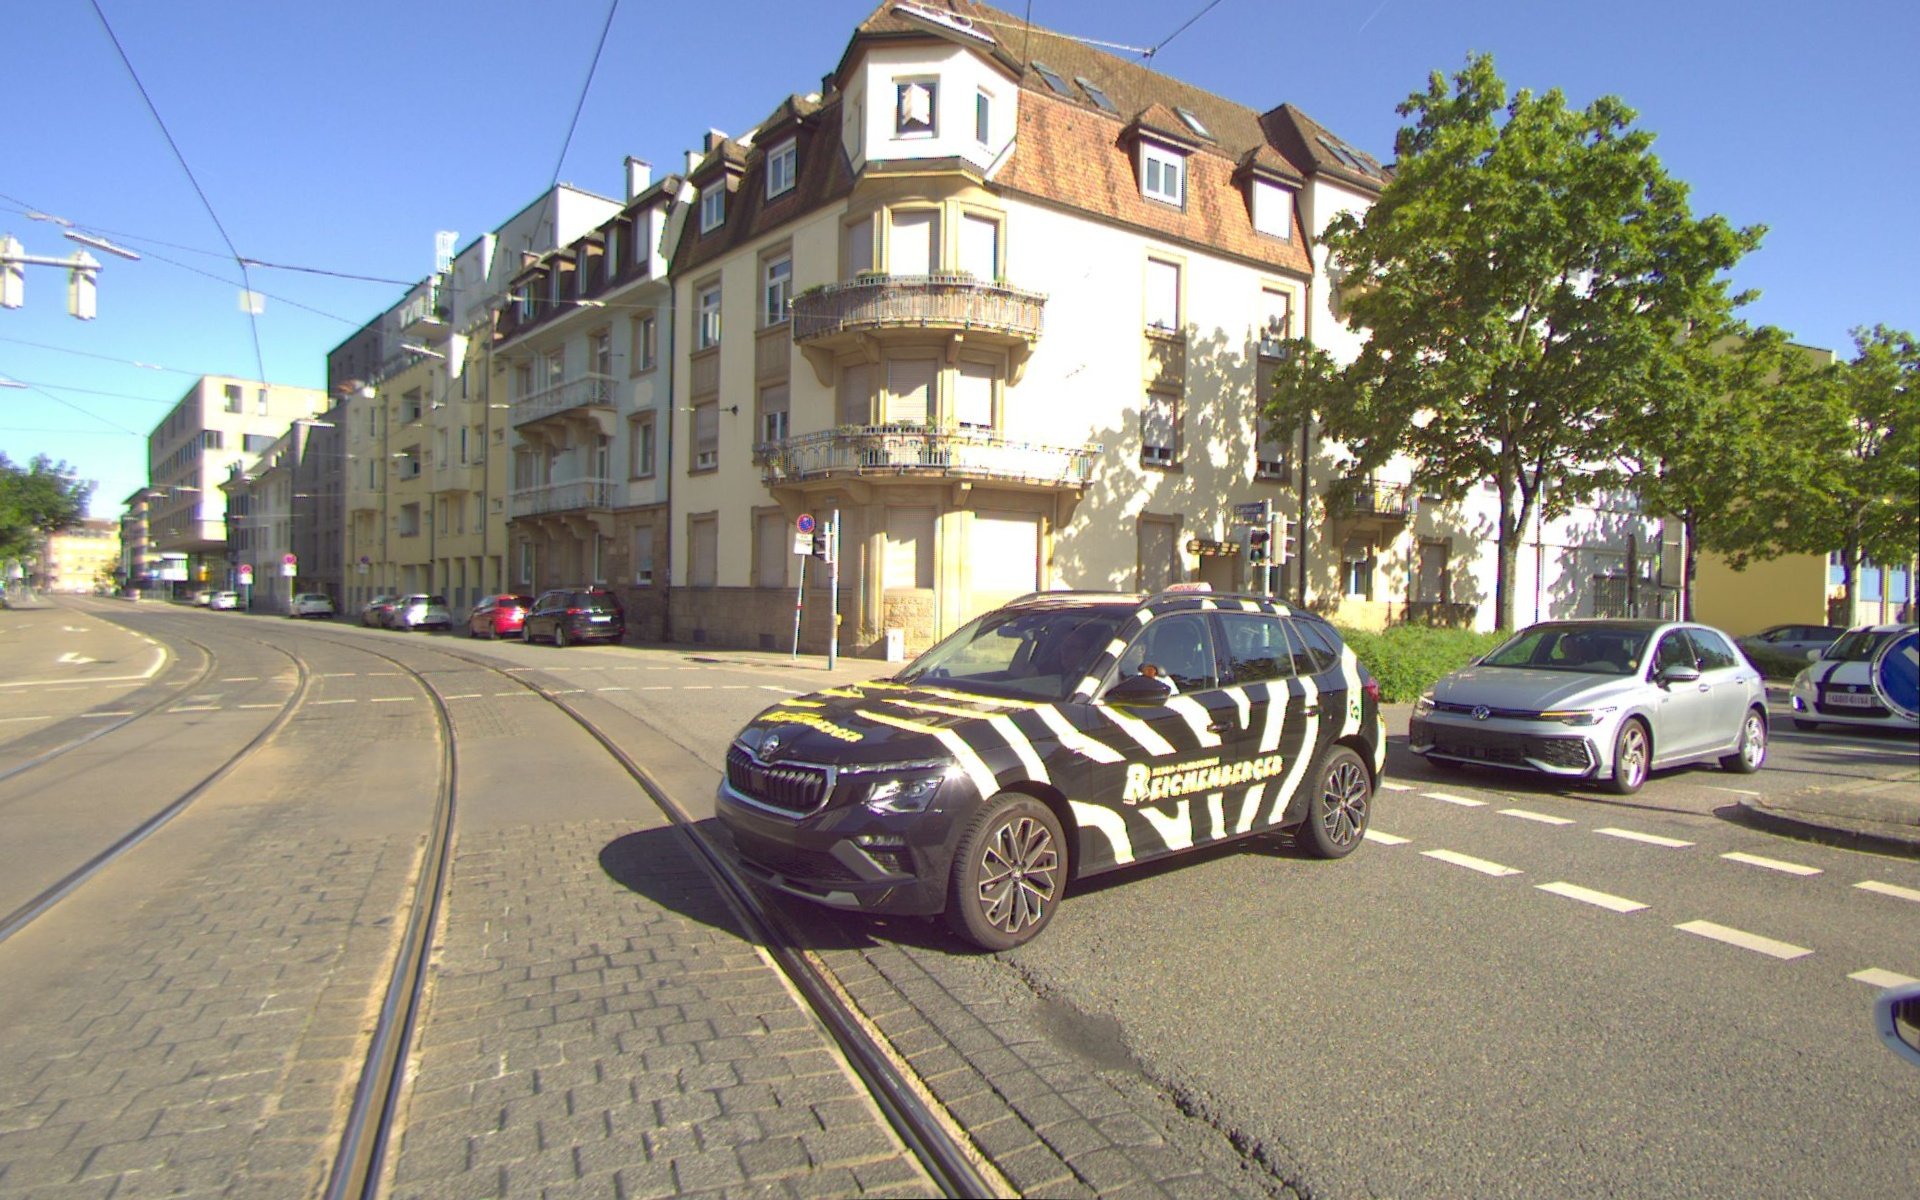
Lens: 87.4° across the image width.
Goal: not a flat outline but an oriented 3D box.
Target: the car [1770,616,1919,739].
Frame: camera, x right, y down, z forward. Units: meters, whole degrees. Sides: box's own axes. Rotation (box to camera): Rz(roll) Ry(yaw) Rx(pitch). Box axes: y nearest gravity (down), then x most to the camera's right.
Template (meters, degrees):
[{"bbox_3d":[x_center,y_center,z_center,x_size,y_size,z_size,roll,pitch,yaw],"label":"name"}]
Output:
[{"bbox_3d":[13.281,1.019,14.192,3.819,1.532,1.696,1,-2,-32],"label":"car"}]

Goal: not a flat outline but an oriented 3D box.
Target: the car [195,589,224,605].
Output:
[{"bbox_3d":[-65.669,-0.268,87.870,1.789,1.347,3.668,-1,1,-41],"label":"car"}]

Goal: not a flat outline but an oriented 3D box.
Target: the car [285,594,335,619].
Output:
[{"bbox_3d":[-37.560,0.327,57.993,1.949,1.381,3.795,-1,1,-41],"label":"car"}]

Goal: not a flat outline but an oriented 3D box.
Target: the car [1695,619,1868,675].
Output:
[{"bbox_3d":[25.523,1.427,31.388,3.813,1.530,1.826,2,0,26],"label":"car"}]

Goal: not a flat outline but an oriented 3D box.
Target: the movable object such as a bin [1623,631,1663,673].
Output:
[{"bbox_3d":[16.454,1.249,24.195,0.629,0.989,0.513,1,1,-22],"label":"movable object such as a bin"}]

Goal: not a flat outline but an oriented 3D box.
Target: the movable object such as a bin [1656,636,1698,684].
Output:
[{"bbox_3d":[16.687,1.395,23.375,0.629,1.061,0.513,1,1,-22],"label":"movable object such as a bin"}]

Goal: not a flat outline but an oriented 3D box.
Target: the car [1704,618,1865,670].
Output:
[{"bbox_3d":[27.488,1.435,33.655,3.814,1.530,1.826,2,0,27],"label":"car"}]

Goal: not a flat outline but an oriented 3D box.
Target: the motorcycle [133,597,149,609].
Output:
[{"bbox_3d":[-86.108,0.296,105.595,2.725,1.249,0.912,1,0,44],"label":"motorcycle"}]

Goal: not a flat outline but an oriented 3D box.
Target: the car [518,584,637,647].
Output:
[{"bbox_3d":[-11.460,0.430,29.966,1.948,1.747,4.122,2,0,-42],"label":"car"}]

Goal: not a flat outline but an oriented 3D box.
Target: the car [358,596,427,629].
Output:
[{"bbox_3d":[-25.191,0.521,44.526,1.949,1.381,3.795,-1,1,-41],"label":"car"}]

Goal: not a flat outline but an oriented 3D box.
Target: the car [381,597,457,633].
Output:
[{"bbox_3d":[-22.261,0.574,41.252,1.984,1.381,3.795,-1,1,-41],"label":"car"}]

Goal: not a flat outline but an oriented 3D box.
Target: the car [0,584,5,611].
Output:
[{"bbox_3d":[-60.218,-0.160,61.926,1.767,1.624,3.950,1,0,-42],"label":"car"}]

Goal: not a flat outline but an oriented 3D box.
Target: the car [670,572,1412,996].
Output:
[{"bbox_3d":[0.682,0.687,5.633,4.082,1.534,1.773,1,0,-40],"label":"car"}]

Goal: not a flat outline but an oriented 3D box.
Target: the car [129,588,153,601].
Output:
[{"bbox_3d":[-86.916,-0.580,106.587,1.789,1.381,3.668,-1,1,-41],"label":"car"}]

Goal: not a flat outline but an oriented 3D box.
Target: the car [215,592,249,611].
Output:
[{"bbox_3d":[-55.639,0.087,76.755,1.789,1.381,3.668,-1,1,-41],"label":"car"}]

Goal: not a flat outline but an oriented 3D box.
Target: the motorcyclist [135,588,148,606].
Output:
[{"bbox_3d":[-86.032,-0.320,105.534,1.041,1.894,0.937,1,0,43],"label":"motorcyclist"}]

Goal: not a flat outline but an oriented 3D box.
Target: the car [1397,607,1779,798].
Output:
[{"bbox_3d":[6.081,0.836,9.623,3.810,1.471,1.697,1,0,-34],"label":"car"}]

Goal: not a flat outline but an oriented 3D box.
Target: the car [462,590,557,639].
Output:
[{"bbox_3d":[-15.466,0.489,34.421,1.885,1.561,3.843,2,0,-42],"label":"car"}]
